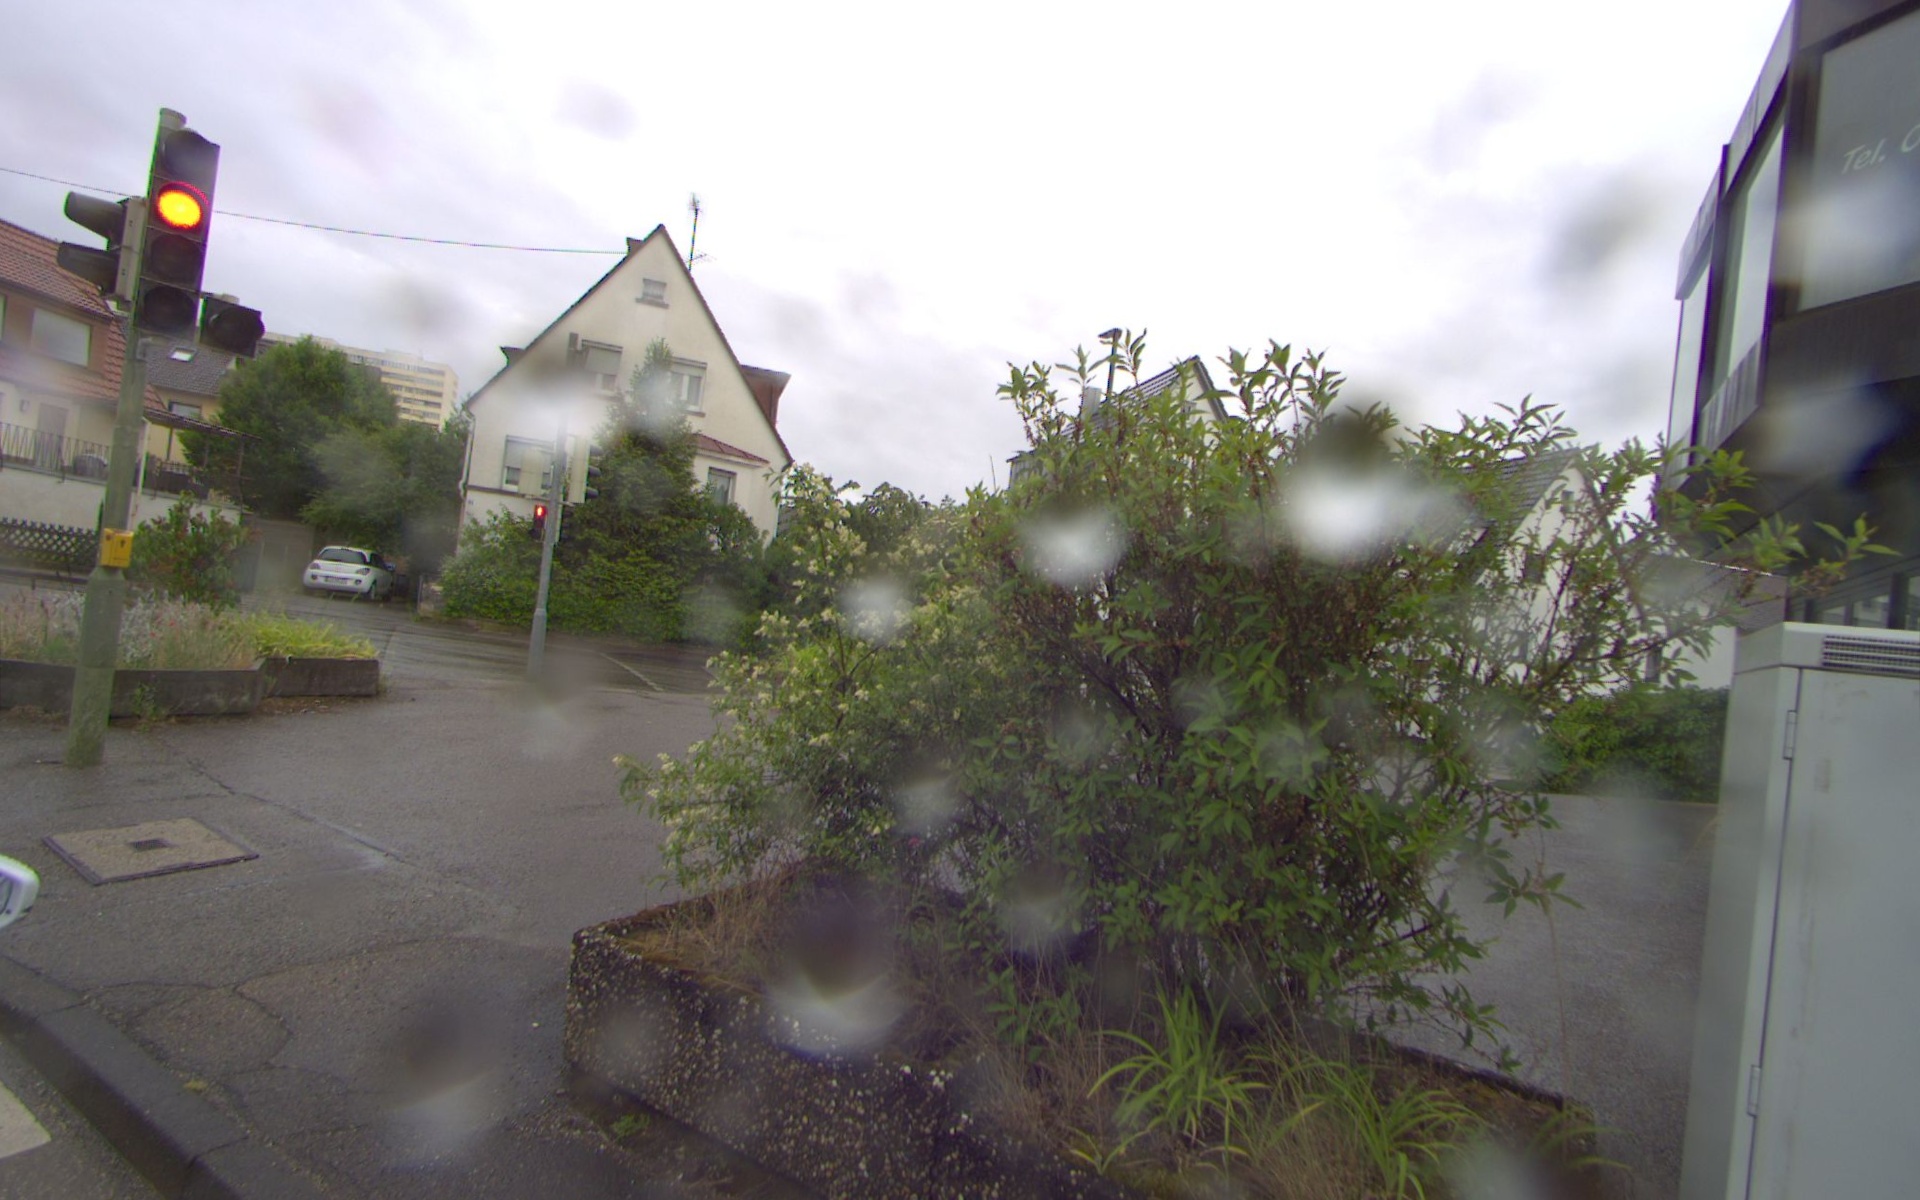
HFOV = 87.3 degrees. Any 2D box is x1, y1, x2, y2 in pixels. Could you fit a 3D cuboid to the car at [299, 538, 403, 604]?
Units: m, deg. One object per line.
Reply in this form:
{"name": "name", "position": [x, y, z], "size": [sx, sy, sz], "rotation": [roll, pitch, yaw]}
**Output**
{"name": "car", "position": [-17.680, -0.816, 29.381], "size": [1.722, 1.532, 3.982], "rotation": [9, -2, -21]}
